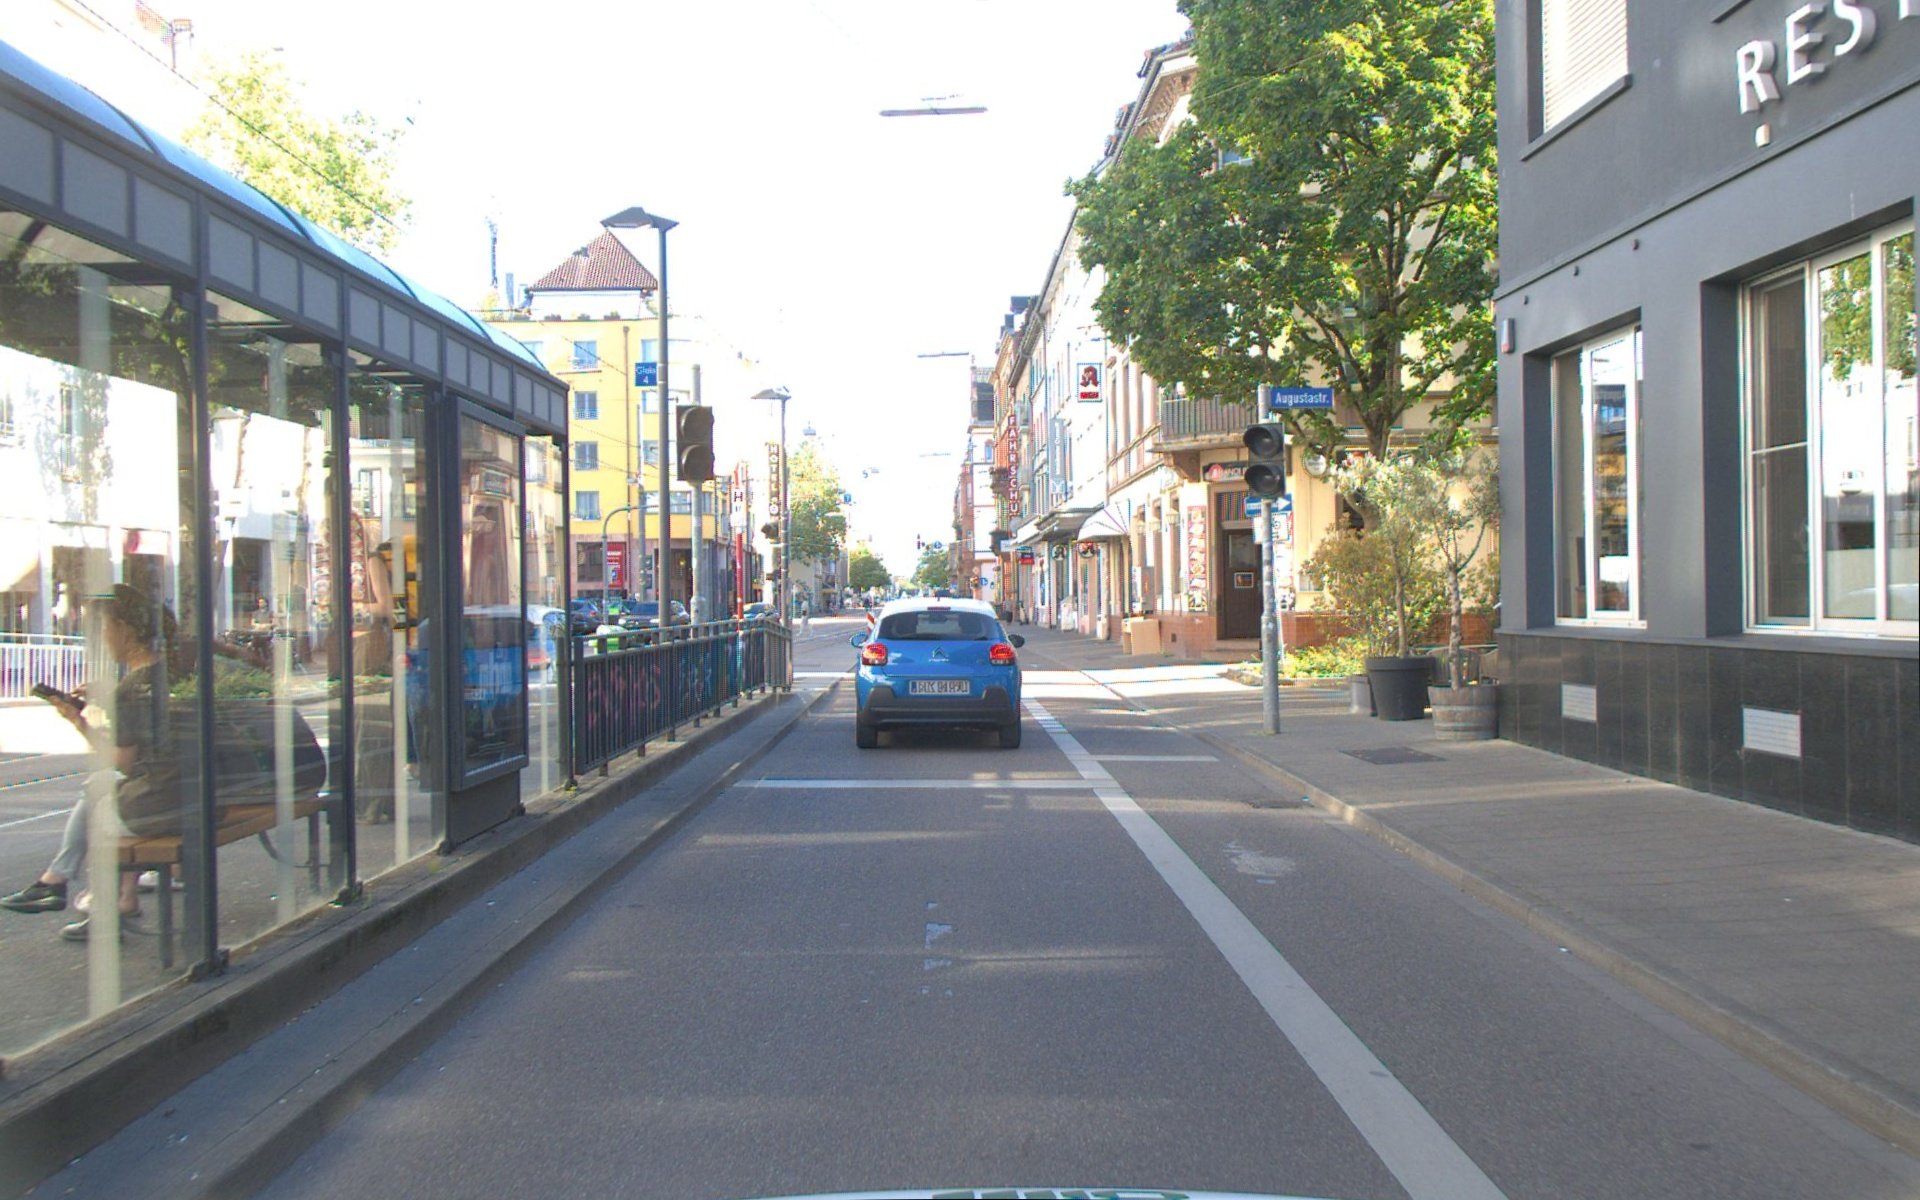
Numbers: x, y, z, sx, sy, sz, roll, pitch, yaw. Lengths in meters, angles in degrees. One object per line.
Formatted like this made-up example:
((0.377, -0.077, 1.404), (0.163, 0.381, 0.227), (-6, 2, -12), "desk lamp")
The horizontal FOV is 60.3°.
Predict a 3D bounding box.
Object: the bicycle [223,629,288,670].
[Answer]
((-17.447, 1.214, 40.976), (0.384, 0.957, 1.490), (-1, 0, 34), "bicycle")

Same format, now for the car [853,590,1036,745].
((-0.177, 0.653, 17.799), (1.745, 1.476, 3.653), (1, 0, -1), "car")

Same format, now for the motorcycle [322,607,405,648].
((-19.675, 0.904, 54.580), (2.463, 1.311, 0.667), (-1, 0, -4), "motorcycle")

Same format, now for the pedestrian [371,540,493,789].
((-3.464, 0.413, 10.890), (0.608, 1.586, 0.568), (-1, 0, -1), "pedestrian")

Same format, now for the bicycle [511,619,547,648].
((-16.179, 1.239, 62.150), (0.665, 1.020, 2.686), (-1, 0, 0), "bicycle")

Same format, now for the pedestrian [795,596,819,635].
((-6.722, 0.683, 72.529), (0.829, 1.683, 0.691), (0, 0, -29), "pedestrian")

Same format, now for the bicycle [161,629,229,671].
((-18.361, 1.198, 39.700), (0.384, 0.957, 1.490), (-1, 0, 34), "bicycle")

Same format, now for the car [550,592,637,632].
((-18.005, 0.588, 81.468), (3.909, 1.880, 1.956), (-1, 0, -5), "car")

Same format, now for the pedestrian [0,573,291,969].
((-2.838, 0.564, 5.783), (0.696, 1.294, 0.657), (-1, 0, 1), "pedestrian")

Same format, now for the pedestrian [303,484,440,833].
((-3.179, 0.297, 8.913), (0.557, 1.781, 0.712), (-1, 0, -30), "pedestrian")

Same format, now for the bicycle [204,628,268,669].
((-18.129, 1.206, 41.461), (0.384, 0.957, 1.490), (-1, 0, 34), "bicycle")

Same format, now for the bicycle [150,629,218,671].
((-18.756, 1.206, 39.986), (0.384, 0.957, 1.490), (-1, 0, 34), "bicycle")

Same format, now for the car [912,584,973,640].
((-0.596, 0.423, 54.953), (1.953, 1.773, 3.999), (1, -1, -1), "car")

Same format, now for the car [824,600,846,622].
((-12.335, 1.085, 163.075), (1.953, 2.049, 3.998), (1, -1, -2), "car")

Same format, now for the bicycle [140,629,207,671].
((-19.124, 1.214, 40.237), (0.384, 0.957, 1.490), (-1, 0, 34), "bicycle")

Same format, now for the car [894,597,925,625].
((-3.274, 0.745, 107.743), (1.953, 1.773, 3.999), (1, -1, -1), "car")

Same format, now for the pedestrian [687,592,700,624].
((-15.634, 0.479, 97.088), (0.683, 1.890, 0.838), (0, 0, -13), "pedestrian")

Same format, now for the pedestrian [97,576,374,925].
((-2.846, 0.565, 6.565), (0.749, 1.294, 0.719), (-1, 0, 1), "pedestrian")

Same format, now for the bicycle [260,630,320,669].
((-17.320, 1.282, 42.777), (0.384, 0.957, 1.490), (-1, 0, 34), "bicycle")

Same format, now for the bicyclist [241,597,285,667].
((-16.018, 0.718, 38.026), (0.658, 1.584, 0.778), (-1, 0, 0), "bicyclist")

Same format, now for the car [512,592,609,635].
((-17.829, 0.590, 73.915), (3.909, 1.880, 1.956), (-1, 0, -5), "car")

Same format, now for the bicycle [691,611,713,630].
((-12.296, 0.977, 78.935), (0.665, 0.842, 2.576), (-1, 0, 0), "bicycle")

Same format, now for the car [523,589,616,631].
((-18.126, 0.450, 76.926), (3.909, 1.880, 1.956), (-1, 0, -5), "car")

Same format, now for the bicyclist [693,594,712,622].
((-12.292, 0.359, 78.942), (0.715, 1.314, 1.180), (-1, 0, 0), "bicyclist")

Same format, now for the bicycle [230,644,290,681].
((-16.041, 1.421, 37.954), (0.554, 0.770, 1.937), (-1, 0, 0), "bicycle")

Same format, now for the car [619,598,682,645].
((-11.824, 0.801, 63.405), (1.718, 1.643, 4.824), (-2, 0, -3), "car")

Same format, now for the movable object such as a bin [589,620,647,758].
((-2.600, 0.667, 12.582), (0.339, 1.025, 0.404), (-1, 0, 0), "movable object such as a bin")

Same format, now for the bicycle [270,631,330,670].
((-16.955, 1.283, 42.510), (0.384, 0.957, 1.490), (-1, 0, 34), "bicycle")

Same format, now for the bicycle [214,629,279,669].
((-17.764, 1.212, 41.199), (0.384, 0.957, 1.490), (-1, 0, 34), "bicycle")

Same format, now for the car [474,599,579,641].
((-18.008, 0.820, 68.888), (3.909, 1.704, 1.956), (-1, 0, -5), "car")

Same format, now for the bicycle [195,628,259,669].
((-18.473, 1.216, 41.697), (0.384, 0.957, 1.490), (-1, 0, 34), "bicycle")

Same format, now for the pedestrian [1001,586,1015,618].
((2.496, 0.101, 86.618), (0.679, 1.680, 0.680), (-1, 0, -2), "pedestrian")

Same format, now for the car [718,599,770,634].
((-10.261, 0.764, 78.777), (1.911, 1.512, 4.000), (-2, 0, 0), "car")
